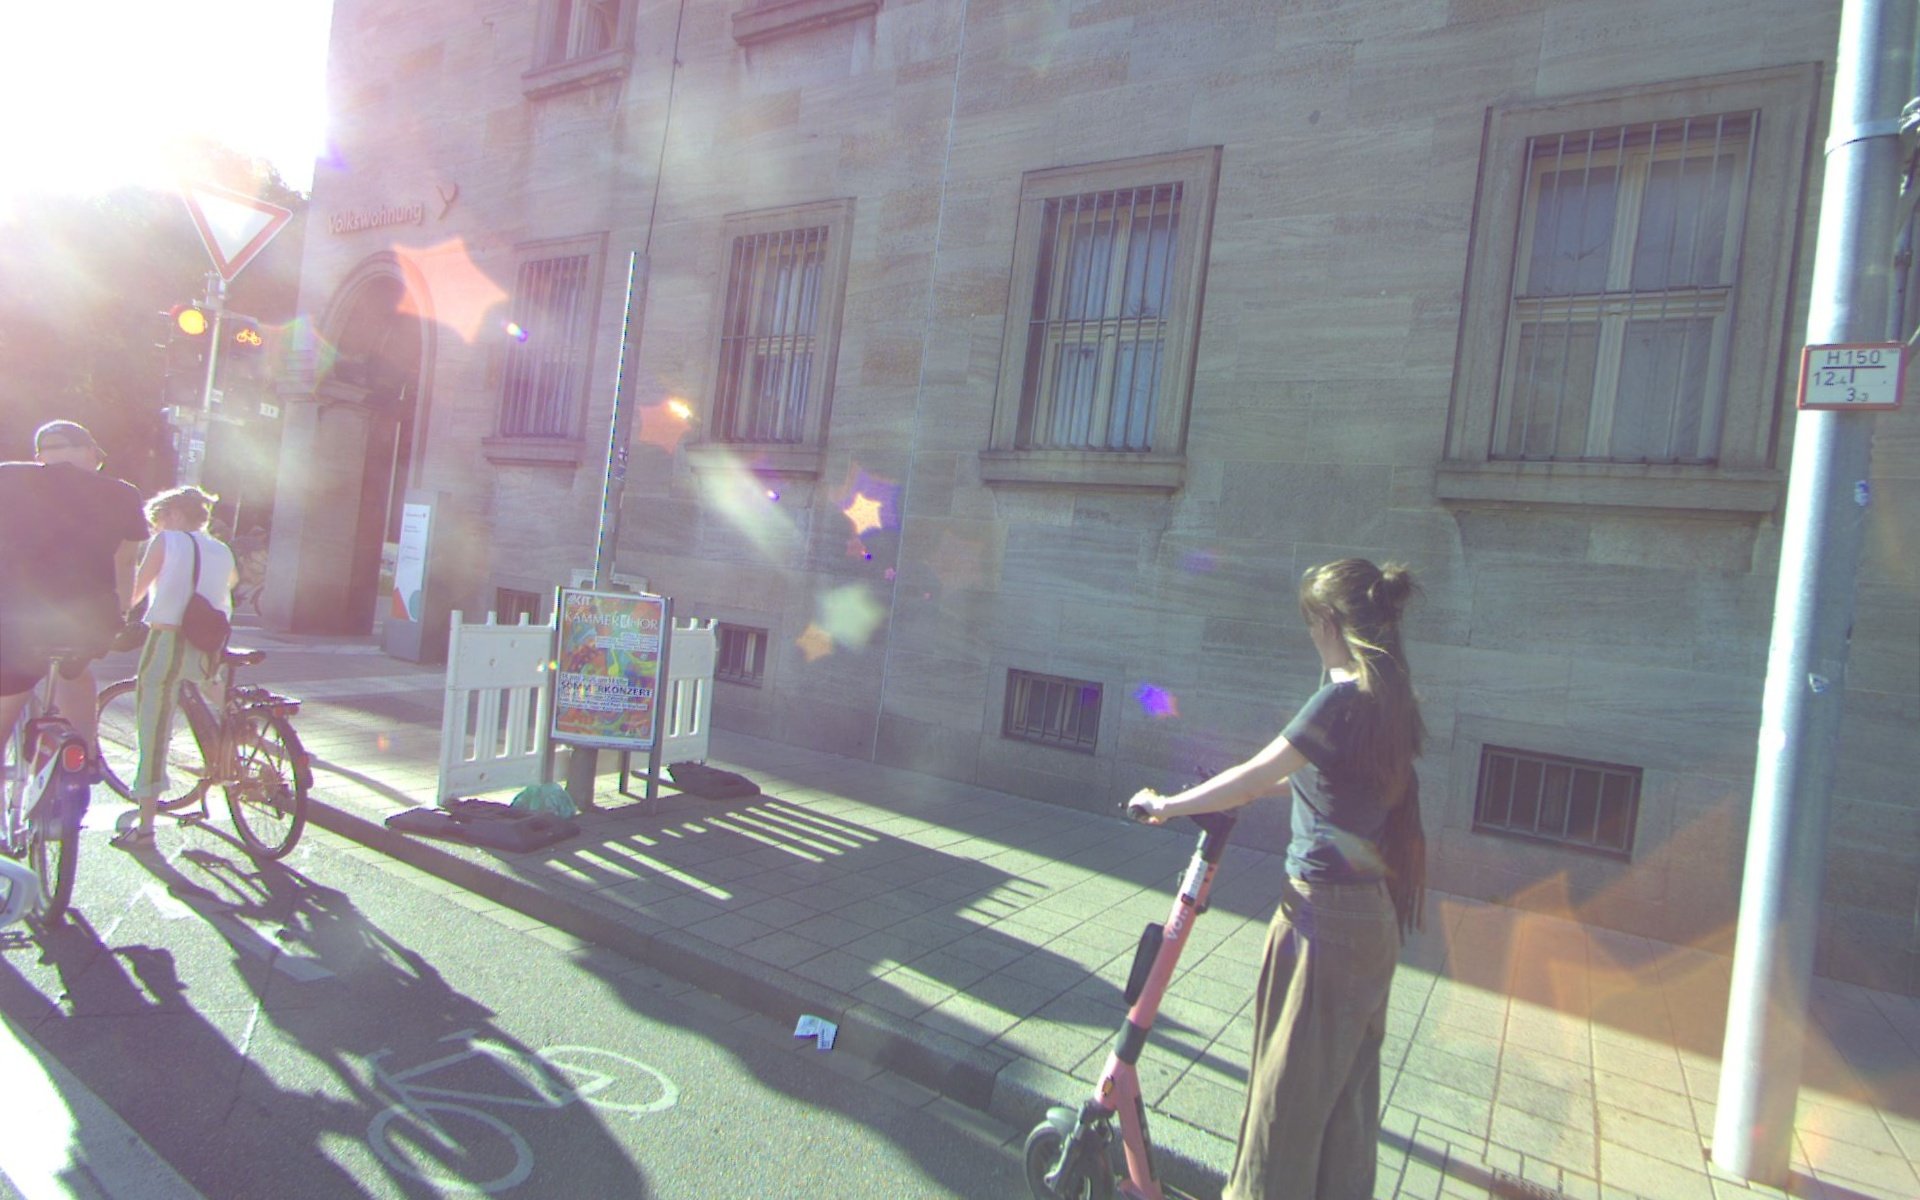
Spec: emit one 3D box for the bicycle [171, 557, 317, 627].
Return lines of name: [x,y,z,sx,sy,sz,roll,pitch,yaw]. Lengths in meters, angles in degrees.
bicycle: [-11.488,-0.107,16.205,0.634,0.946,1.747,7,-1,27]

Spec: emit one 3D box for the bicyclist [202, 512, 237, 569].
bicyclist: [-23.614,-1.897,32.081,0.499,1.704,0.643,7,0,37]

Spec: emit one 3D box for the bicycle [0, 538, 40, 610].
bicycle: [-13.520,-0.422,13.310,0.550,0.946,1.862,7,-1,27]

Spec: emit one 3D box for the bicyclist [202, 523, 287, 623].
bicyclist: [-11.488,-0.425,16.155,0.607,1.468,0.800,7,0,28]

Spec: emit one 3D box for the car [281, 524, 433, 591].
car: [-19.694,-1.349,33.027,1.623,1.630,3.854,7,-1,31]

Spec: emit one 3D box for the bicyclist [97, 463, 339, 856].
bicyclist: [-3.535,0.265,4.809,0.629,1.711,0.558,7,-1,30]

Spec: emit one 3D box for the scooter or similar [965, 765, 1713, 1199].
scooter or similar: [0.746,1.097,2.229,1.305,1.199,0.535,7,0,31]

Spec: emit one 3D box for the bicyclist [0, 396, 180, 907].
bicyclist: [-3.549,0.192,3.859,0.541,1.820,0.559,7,-1,33]

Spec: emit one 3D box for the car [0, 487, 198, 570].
car: [-23.372,-1.893,27.200,1.622,1.630,3.999,7,-1,31]

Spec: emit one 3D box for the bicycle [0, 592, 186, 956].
bicycle: [-3.738,0.573,3.929,1.700,1.090,0.516,7,-1,34]

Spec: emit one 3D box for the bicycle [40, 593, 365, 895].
bicycle: [-3.682,0.620,4.847,1.721,1.090,0.535,7,-1,31]

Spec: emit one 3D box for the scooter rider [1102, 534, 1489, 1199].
scooter rider: [0.775,0.758,2.279,0.547,1.691,0.730,7,0,30]

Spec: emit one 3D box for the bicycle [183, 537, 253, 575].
bicycle: [-23.662,-1.384,32.110,0.525,0.975,1.666,7,-1,37]
